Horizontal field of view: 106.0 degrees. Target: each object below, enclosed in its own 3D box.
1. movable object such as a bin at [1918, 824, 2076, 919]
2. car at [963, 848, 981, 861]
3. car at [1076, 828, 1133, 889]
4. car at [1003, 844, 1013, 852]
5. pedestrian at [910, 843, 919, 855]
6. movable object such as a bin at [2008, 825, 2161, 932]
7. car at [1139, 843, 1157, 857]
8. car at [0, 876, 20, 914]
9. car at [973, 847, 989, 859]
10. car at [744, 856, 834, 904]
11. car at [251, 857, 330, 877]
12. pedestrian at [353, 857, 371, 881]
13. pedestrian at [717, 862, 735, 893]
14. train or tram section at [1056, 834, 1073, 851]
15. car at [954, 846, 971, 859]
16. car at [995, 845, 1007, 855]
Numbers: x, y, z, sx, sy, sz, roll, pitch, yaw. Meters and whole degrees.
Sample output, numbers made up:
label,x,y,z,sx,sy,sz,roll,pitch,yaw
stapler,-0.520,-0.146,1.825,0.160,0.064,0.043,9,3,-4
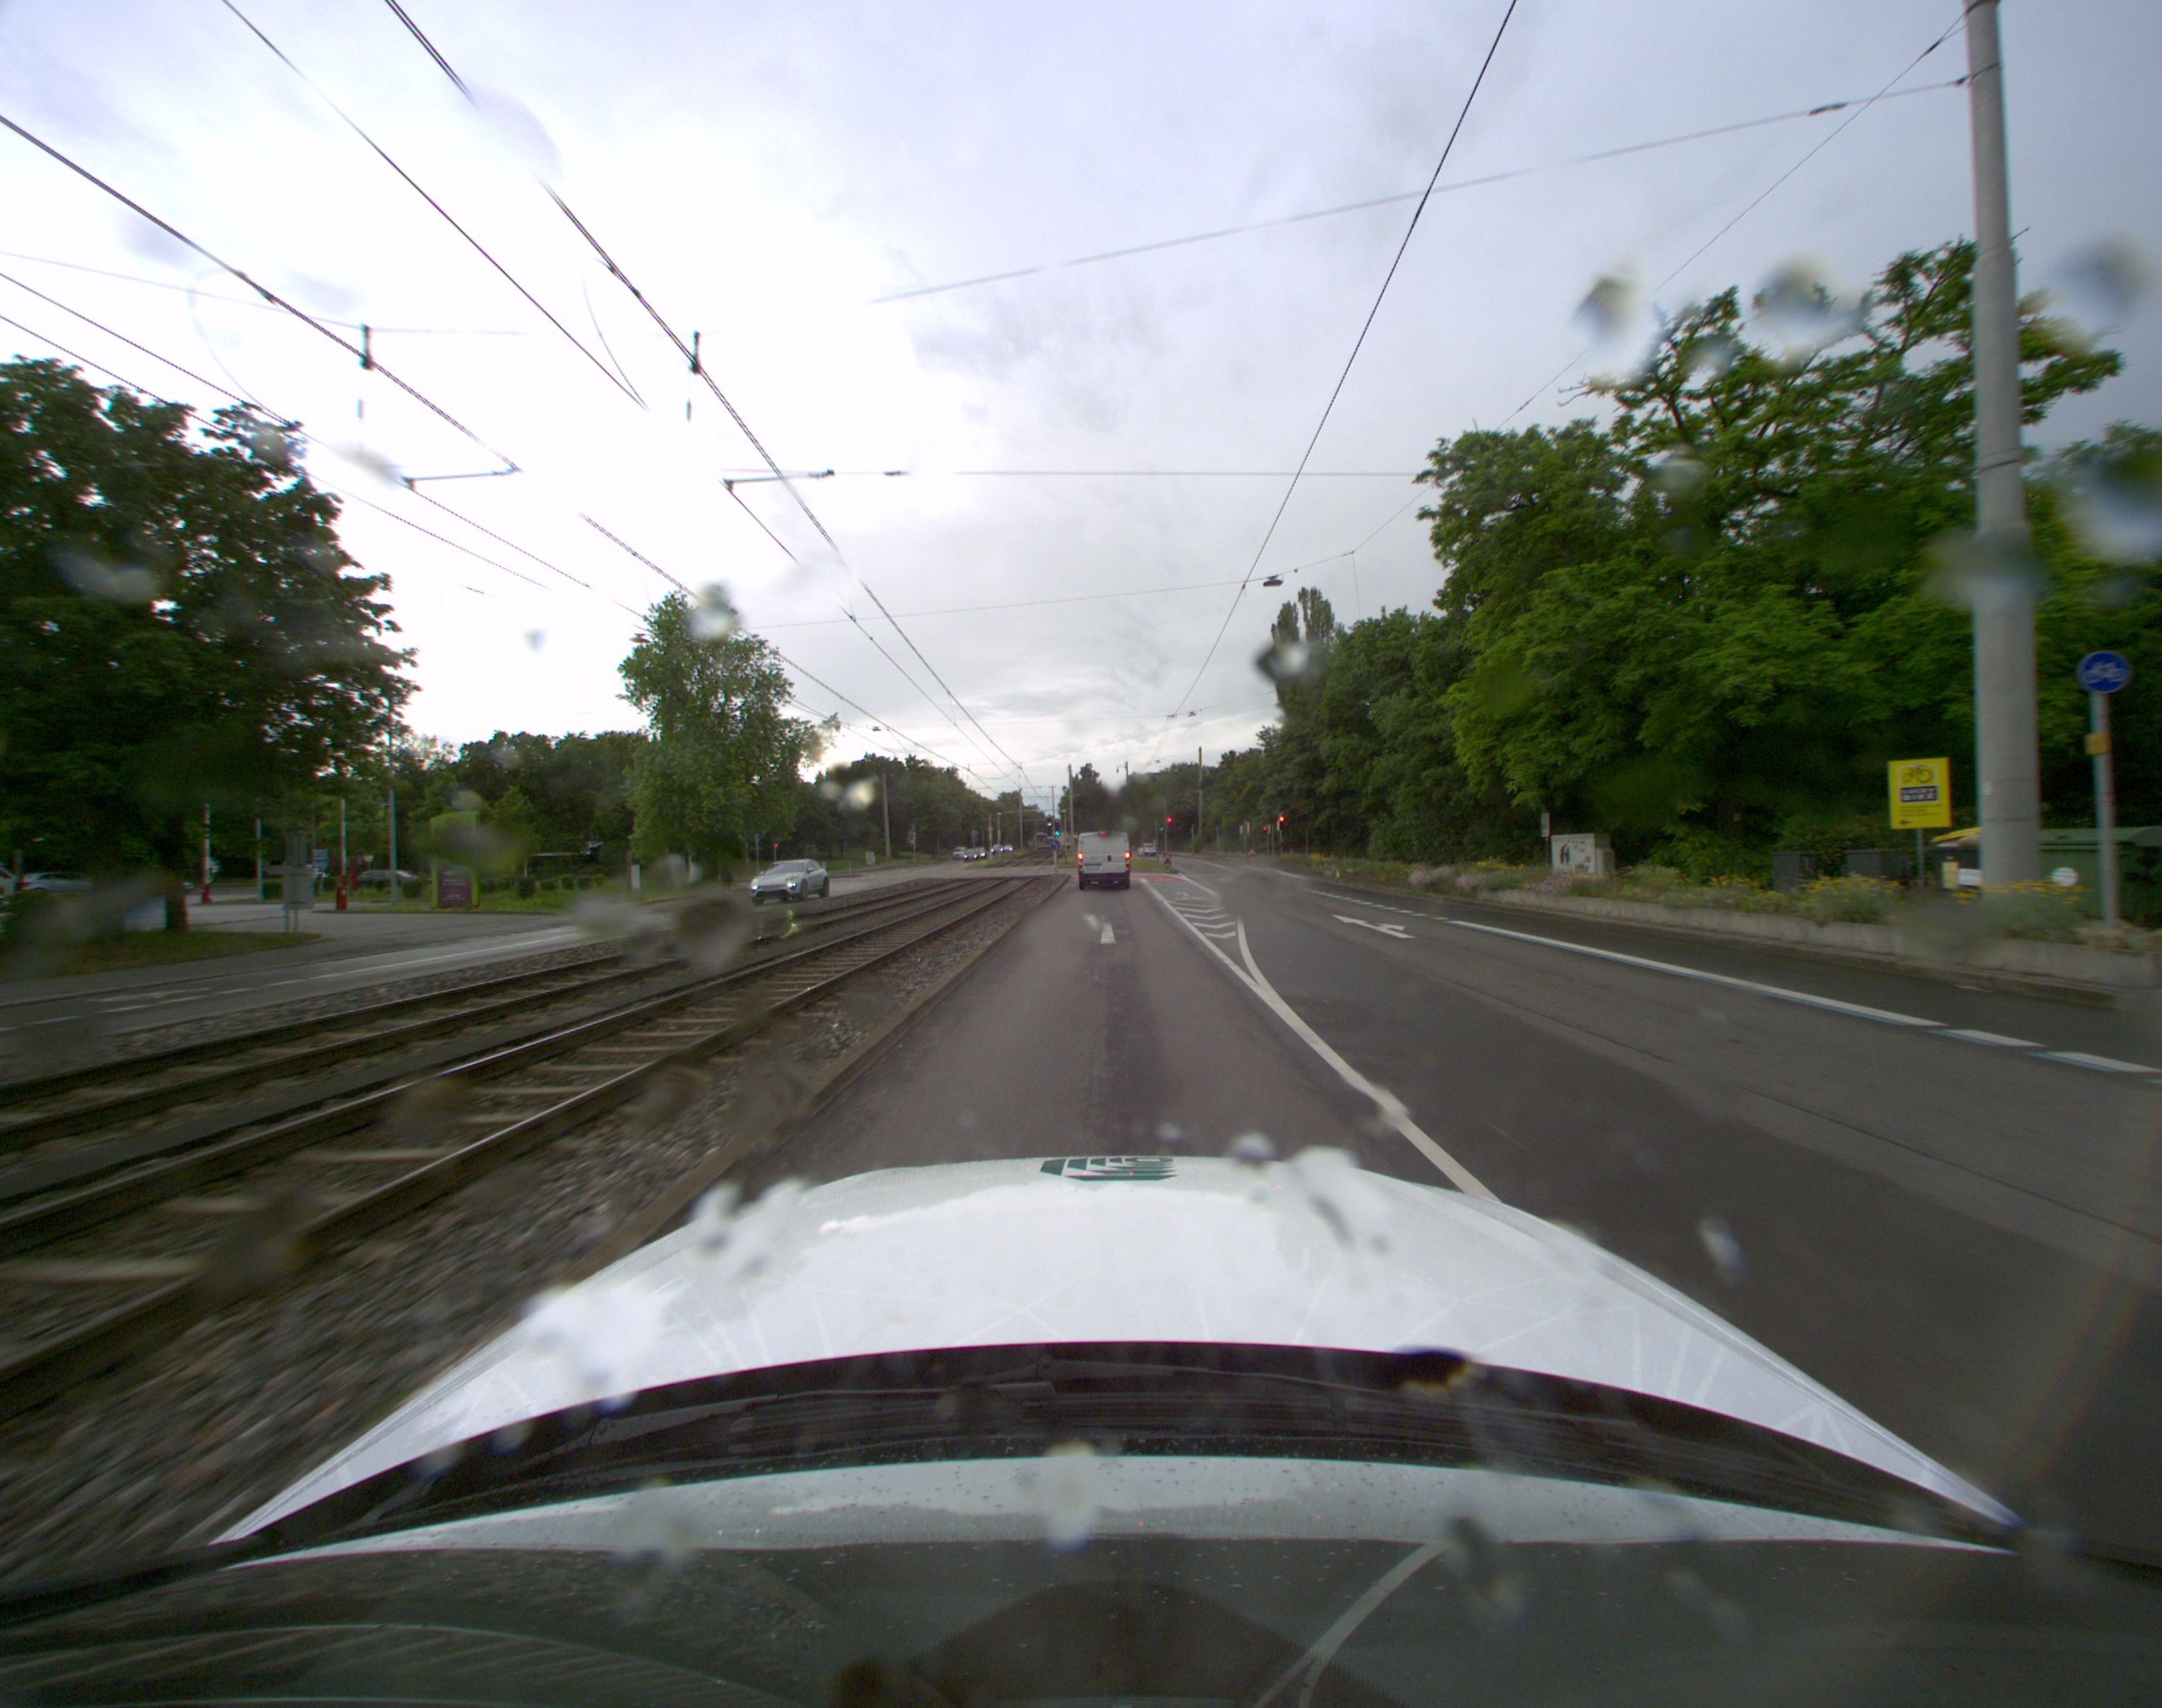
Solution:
label,x,y,z,sx,sy,sz,roll,pitch,yaw
movable object such as a bin,14.318,0.272,12.779,1.181,1.418,1.134,0,-2,-1
car,-12.494,0.055,93.387,1.596,1.401,3.790,0,1,-1
car,1.021,0.181,33.824,2.138,2.283,5.066,-1,0,3
car,-13.807,-1.084,154.447,1.596,1.401,3.790,0,1,-1
pedestrian,-22.063,-0.630,107.636,1.012,1.600,1.038,-2,1,-6
movable object such as a bin,14.504,0.339,11.505,1.307,1.418,1.299,0,-2,-1
car,7.464,-0.446,90.518,1.697,1.521,3.792,0,1,0
car,-40.409,1.495,28.265,4.360,1.345,1.771,-1,0,-7
car,-12.398,-0.112,101.118,1.596,1.401,3.790,0,1,-1
car,-11.455,0.951,32.299,1.989,1.649,4.754,-4,0,-3
car,-73.649,1.229,75.893,5.121,1.805,1.996,-1,-2,-5
pedestrian,-49.415,1.030,56.000,0.672,1.602,0.608,-1,-2,7
pedestrian,-17.581,1.160,40.315,0.589,1.532,0.668,0,-2,0
train or tram section,-4.268,-2.864,215.304,4.046,3.895,15.038,0,-1,1
car,-15.680,-0.216,107.649,1.714,1.553,3.861,-2,1,-1
car,-12.794,-0.631,130.261,1.596,1.401,3.790,0,1,-1
